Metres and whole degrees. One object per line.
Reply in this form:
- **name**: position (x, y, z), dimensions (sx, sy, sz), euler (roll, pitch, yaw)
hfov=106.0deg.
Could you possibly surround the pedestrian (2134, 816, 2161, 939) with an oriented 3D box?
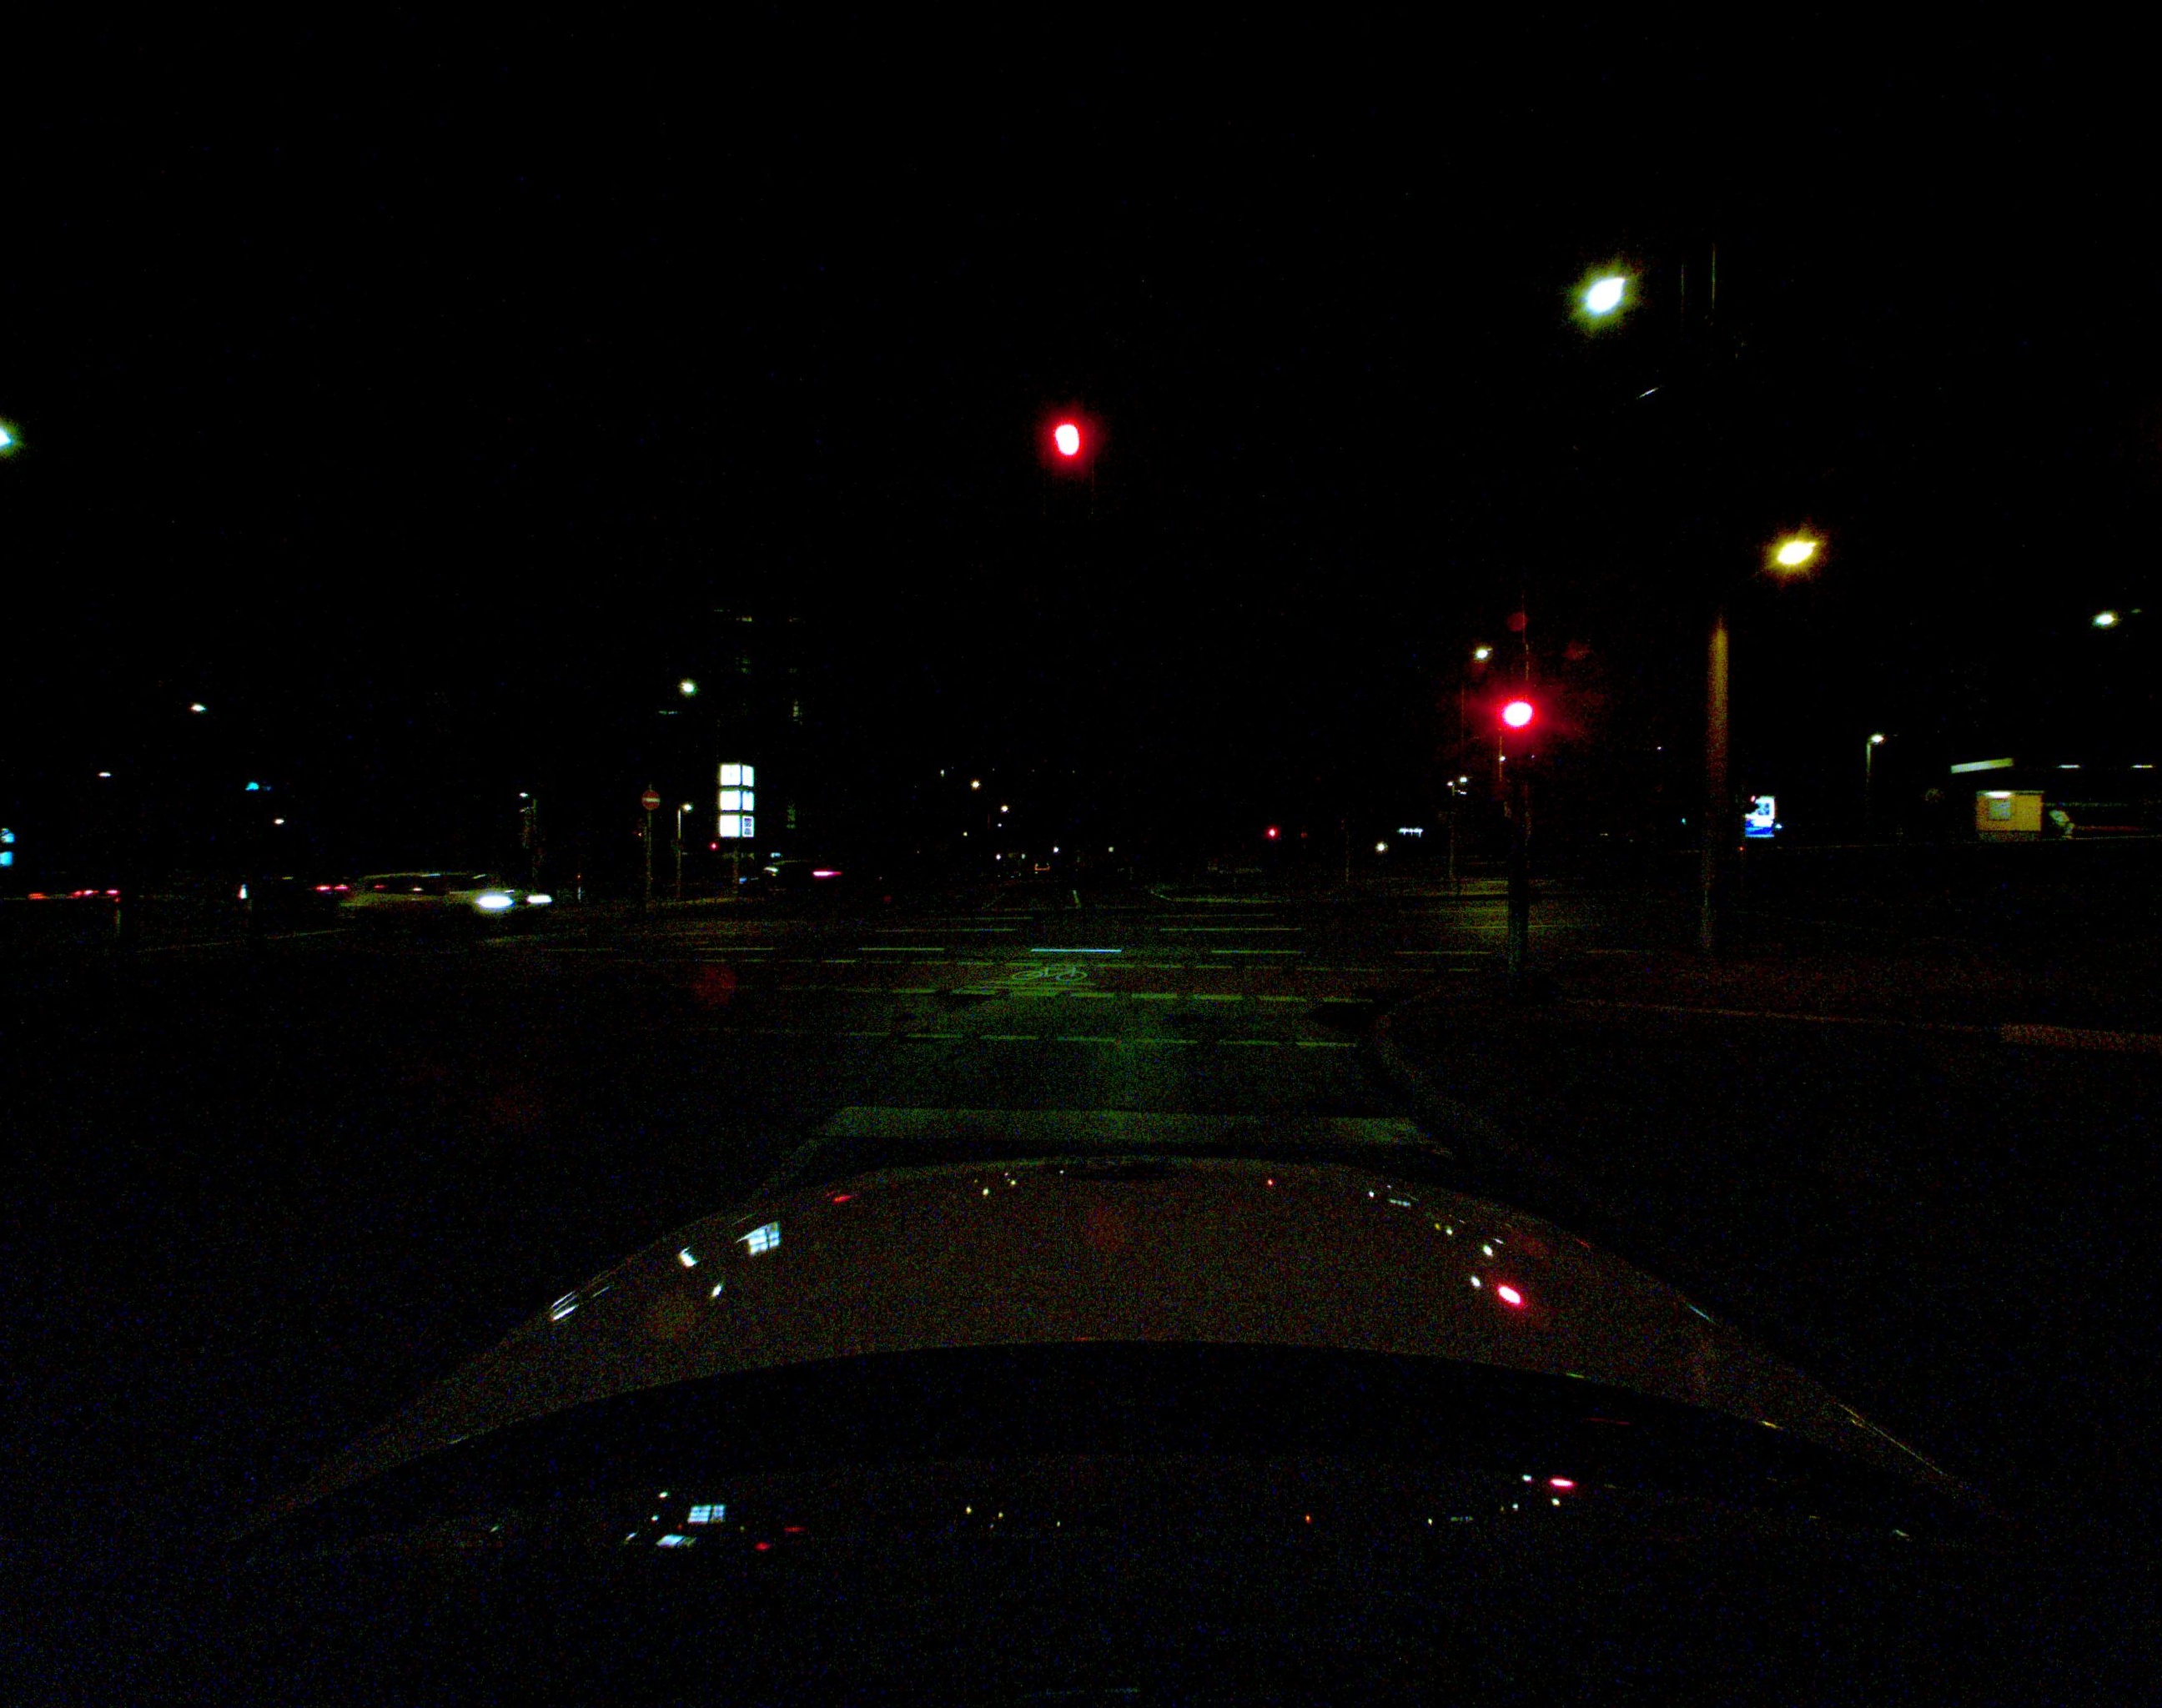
- **pedestrian**: position (15.793, 0.312, 11.442), dimensions (0.752, 1.745, 0.834), euler (-3, -3, 1)

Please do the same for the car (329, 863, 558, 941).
- **car**: position (-15.650, 1.152, 20.122), dimensions (4.261, 1.683, 1.879), euler (-2, 1, 5)

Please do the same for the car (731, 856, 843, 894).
- **car**: position (-13.950, 1.004, 38.796), dimensions (4.595, 1.728, 2.003), euler (0, -1, 5)

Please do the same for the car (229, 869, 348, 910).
- **car**: position (-39.847, 1.749, 41.024), dimensions (4.163, 1.975, 2.002), euler (0, -1, 4)

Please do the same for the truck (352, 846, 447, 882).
- **truck**: position (-59.656, 0.887, 71.385), dimensions (5.873, 3.088, 2.915), euler (0, -1, 3)

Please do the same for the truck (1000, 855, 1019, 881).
- **truck**: position (-10.518, 1.968, 119.618), dimensions (2.580, 3.707, 5.723), euler (0, -1, -7)

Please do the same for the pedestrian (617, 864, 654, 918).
- **pedestrian**: position (-13.867, 1.139, 25.375), dimensions (0.667, 1.634, 0.862), euler (0, -1, -3)

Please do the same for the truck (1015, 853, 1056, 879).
- **truck**: position (-8.554, 2.236, 151.645), dimensions (4.835, 4.547, 12.591), euler (0, -1, -17)

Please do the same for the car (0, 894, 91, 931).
- **car**: position (-54.917, 3.064, 42.530), dimensions (4.137, 1.813, 1.843), euler (-1, -2, 1)
